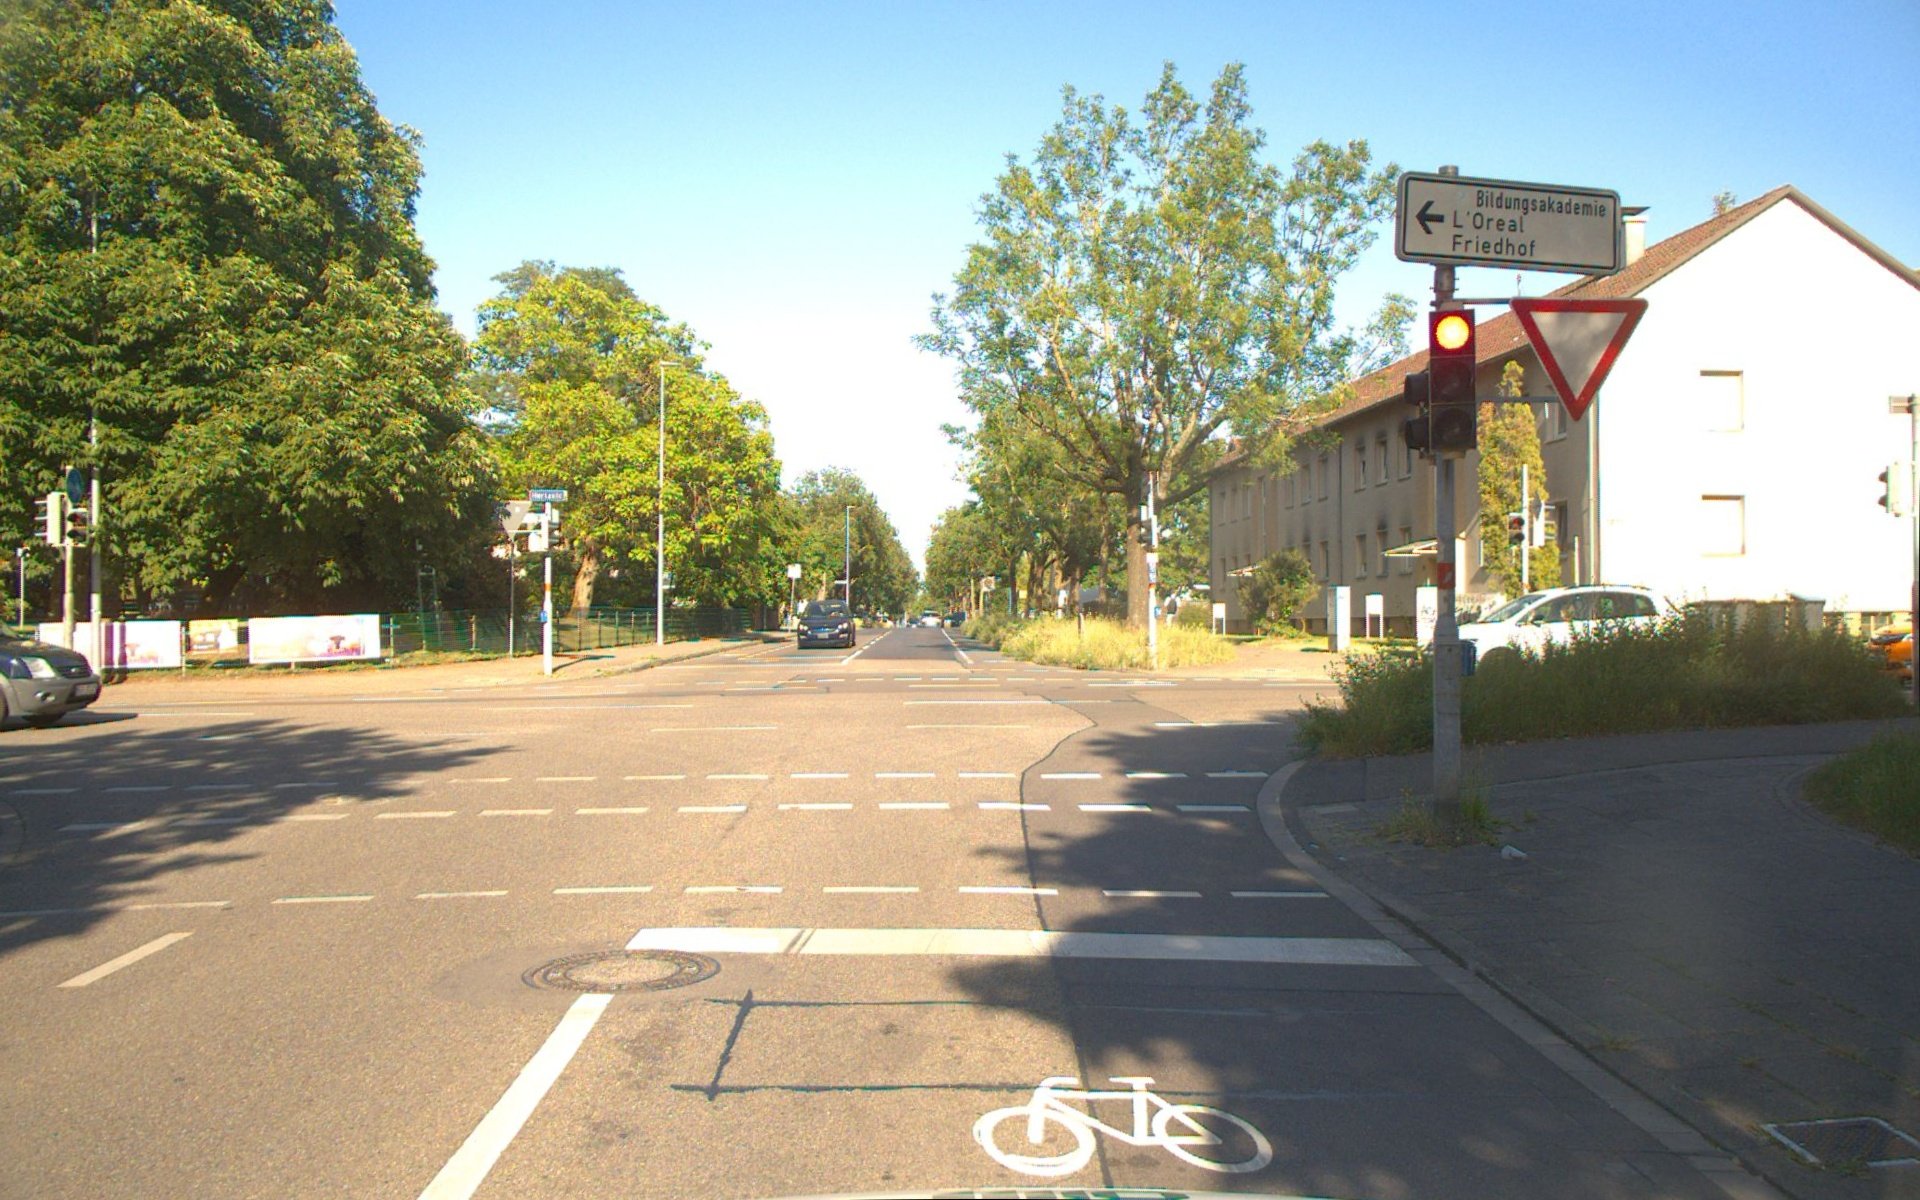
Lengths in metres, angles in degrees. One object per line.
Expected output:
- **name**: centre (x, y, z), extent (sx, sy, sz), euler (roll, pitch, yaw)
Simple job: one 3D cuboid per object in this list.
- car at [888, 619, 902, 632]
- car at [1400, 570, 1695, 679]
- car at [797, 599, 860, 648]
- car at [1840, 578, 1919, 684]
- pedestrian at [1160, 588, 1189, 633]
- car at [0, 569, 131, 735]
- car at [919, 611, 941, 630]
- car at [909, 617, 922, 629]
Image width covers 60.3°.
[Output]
- **car**: centre (-8.784, 3.454, 223.344), extent (1.722, 1.653, 3.268), euler (0, 0, 0)
- **car**: centre (9.185, 0.383, 26.047), extent (4.025, 1.591, 1.756), euler (1, 0, -4)
- **car**: centre (-4.029, 0.706, 51.064), extent (1.676, 1.410, 3.471), euler (0, 0, 0)
- **car**: centre (16.329, 0.498, 26.178), extent (3.907, 1.610, 1.756), euler (1, 0, -3)
- **pedestrian**: centre (7.509, 0.369, 57.882), extent (0.825, 1.519, 0.924), euler (2, 0, -1)
- **car**: centre (-12.628, 0.621, 19.975), extent (4.260, 1.920, 1.858), euler (-1, 0, -5)
- **car**: centre (-2.500, 1.722, 139.020), extent (1.807, 1.487, 3.529), euler (0, 0, -1)
- **car**: centre (-6.088, 3.132, 225.348), extent (1.722, 1.653, 3.268), euler (0, 0, 0)
